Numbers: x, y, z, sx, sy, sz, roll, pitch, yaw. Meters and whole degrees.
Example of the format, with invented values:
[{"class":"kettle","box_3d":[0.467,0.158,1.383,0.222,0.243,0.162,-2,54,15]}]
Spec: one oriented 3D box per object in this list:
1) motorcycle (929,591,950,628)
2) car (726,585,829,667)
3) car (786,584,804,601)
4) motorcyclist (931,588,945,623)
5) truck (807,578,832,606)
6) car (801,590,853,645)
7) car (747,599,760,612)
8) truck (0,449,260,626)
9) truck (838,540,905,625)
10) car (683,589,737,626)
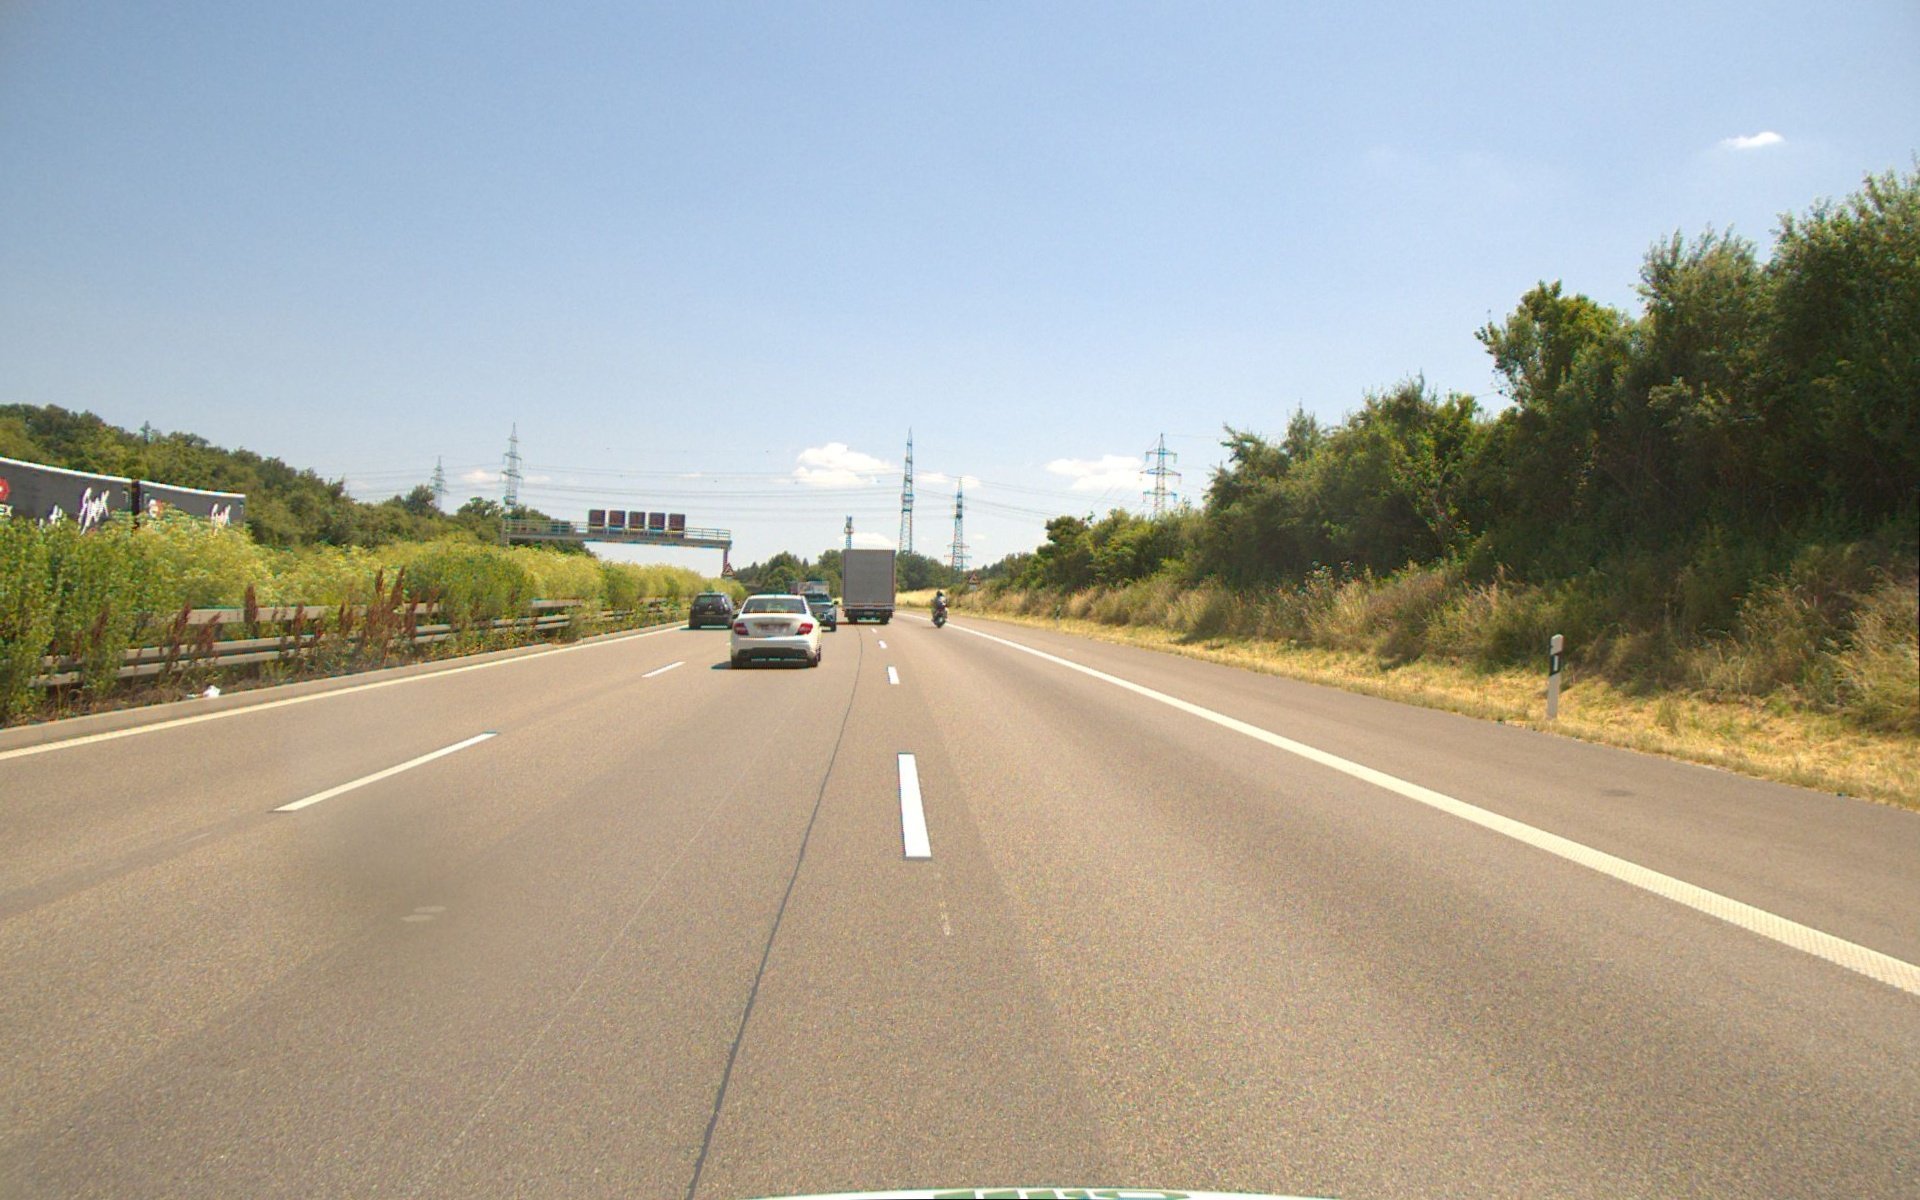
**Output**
[{"class":"motorcycle","box_3d":[-0.923,0.409,73.391,0.794,1.635,1.780,0,0,-6]},{"class":"car","box_3d":[-3.672,0.484,33.843,1.783,1.567,3.913,0,1,-2]},{"class":"car","box_3d":[-18.731,-0.838,188.241,1.864,1.959,3.997,0,1,-3]},{"class":"motorcyclist","box_3d":[-0.968,0.245,73.381,0.561,1.505,0.699,0,0,-7]},{"class":"truck","box_3d":[-20.193,-1.096,237.431,3.417,3.981,7.280,0,0,-6]},{"class":"car","box_3d":[-5.167,0.645,64.090,1.955,2.049,3.996,0,1,-5]},{"class":"car","box_3d":[-32.546,0.843,260.943,1.955,1.892,3.995,0,1,-6]},{"class":"truck","box_3d":[-22.113,-1.445,40.755,3.167,3.674,18.513,3,0,-5]},{"class":"truck","box_3d":[-4.453,-0.837,82.459,3.157,3.993,9.053,0,0,-4]},{"class":"car","box_3d":[-10.108,0.281,67.204,1.721,1.454,3.998,0,1,-2]}]
